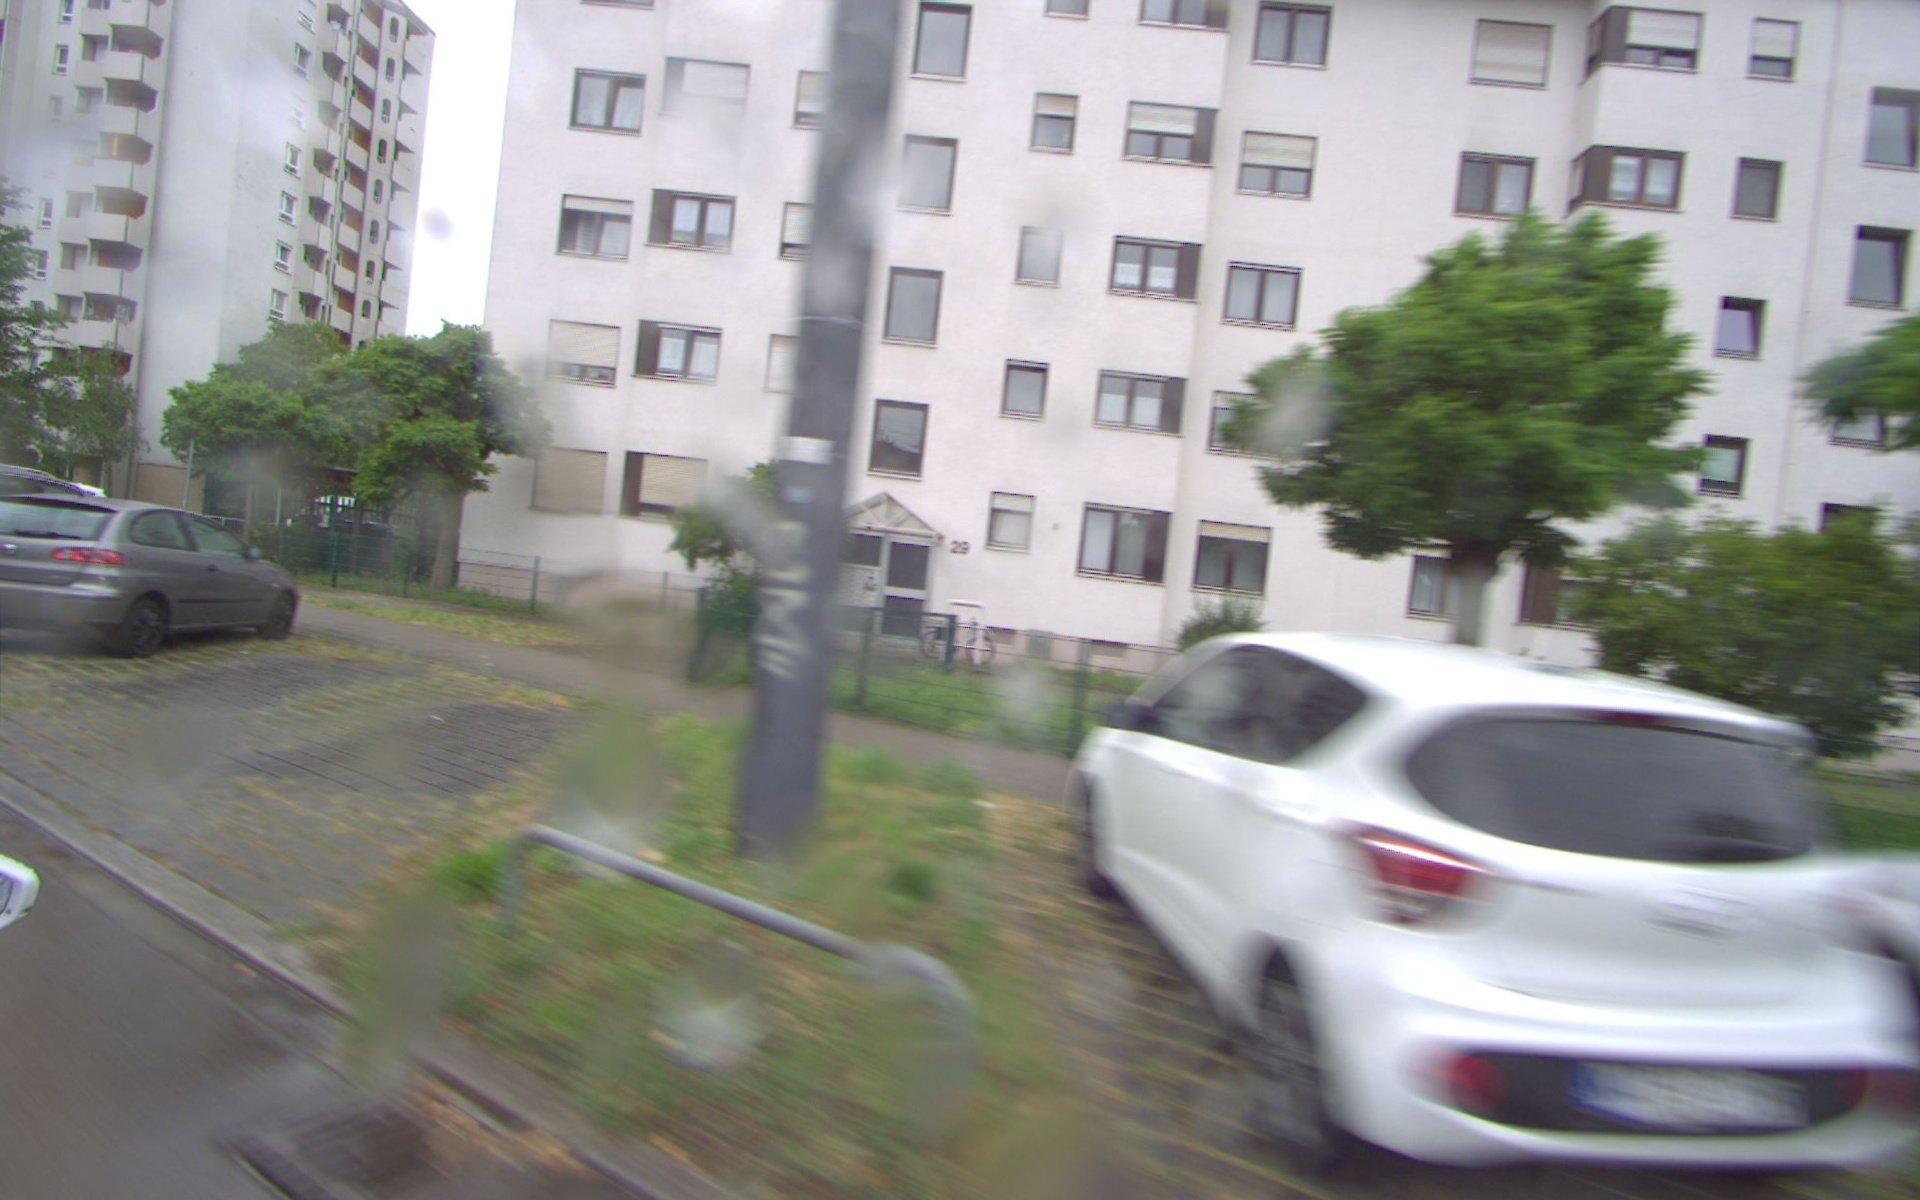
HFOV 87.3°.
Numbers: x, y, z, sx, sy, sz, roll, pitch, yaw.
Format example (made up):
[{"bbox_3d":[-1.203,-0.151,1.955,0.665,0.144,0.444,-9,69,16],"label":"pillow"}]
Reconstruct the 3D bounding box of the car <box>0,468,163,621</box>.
[{"bbox_3d":[-11.409,-0.711,11.297,1.826,1.672,4.341,6,1,-8],"label":"car"}]

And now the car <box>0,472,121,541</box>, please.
[{"bbox_3d":[-29.148,-2.988,30.884,1.962,1.767,4.818,7,0,18],"label":"car"}]

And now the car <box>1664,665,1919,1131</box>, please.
[{"bbox_3d":[4.309,1.165,2.700,1.751,1.528,3.995,4,1,-4],"label":"car"}]

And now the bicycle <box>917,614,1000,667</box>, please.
[{"bbox_3d":[-0.023,0.806,20.201,1.542,0.859,0.491,6,2,6],"label":"bicycle"}]

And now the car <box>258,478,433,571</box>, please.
[{"bbox_3d":[-25.118,-2.989,41.461,2.090,3.001,6.075,7,0,18],"label":"car"}]

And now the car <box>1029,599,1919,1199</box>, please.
[{"bbox_3d":[1.537,0.867,4.306,1.675,1.528,3.994,4,1,-7],"label":"car"}]

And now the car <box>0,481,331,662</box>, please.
[{"bbox_3d":[-8.469,-0.337,10.467,1.705,1.447,3.992,6,1,-9],"label":"car"}]
